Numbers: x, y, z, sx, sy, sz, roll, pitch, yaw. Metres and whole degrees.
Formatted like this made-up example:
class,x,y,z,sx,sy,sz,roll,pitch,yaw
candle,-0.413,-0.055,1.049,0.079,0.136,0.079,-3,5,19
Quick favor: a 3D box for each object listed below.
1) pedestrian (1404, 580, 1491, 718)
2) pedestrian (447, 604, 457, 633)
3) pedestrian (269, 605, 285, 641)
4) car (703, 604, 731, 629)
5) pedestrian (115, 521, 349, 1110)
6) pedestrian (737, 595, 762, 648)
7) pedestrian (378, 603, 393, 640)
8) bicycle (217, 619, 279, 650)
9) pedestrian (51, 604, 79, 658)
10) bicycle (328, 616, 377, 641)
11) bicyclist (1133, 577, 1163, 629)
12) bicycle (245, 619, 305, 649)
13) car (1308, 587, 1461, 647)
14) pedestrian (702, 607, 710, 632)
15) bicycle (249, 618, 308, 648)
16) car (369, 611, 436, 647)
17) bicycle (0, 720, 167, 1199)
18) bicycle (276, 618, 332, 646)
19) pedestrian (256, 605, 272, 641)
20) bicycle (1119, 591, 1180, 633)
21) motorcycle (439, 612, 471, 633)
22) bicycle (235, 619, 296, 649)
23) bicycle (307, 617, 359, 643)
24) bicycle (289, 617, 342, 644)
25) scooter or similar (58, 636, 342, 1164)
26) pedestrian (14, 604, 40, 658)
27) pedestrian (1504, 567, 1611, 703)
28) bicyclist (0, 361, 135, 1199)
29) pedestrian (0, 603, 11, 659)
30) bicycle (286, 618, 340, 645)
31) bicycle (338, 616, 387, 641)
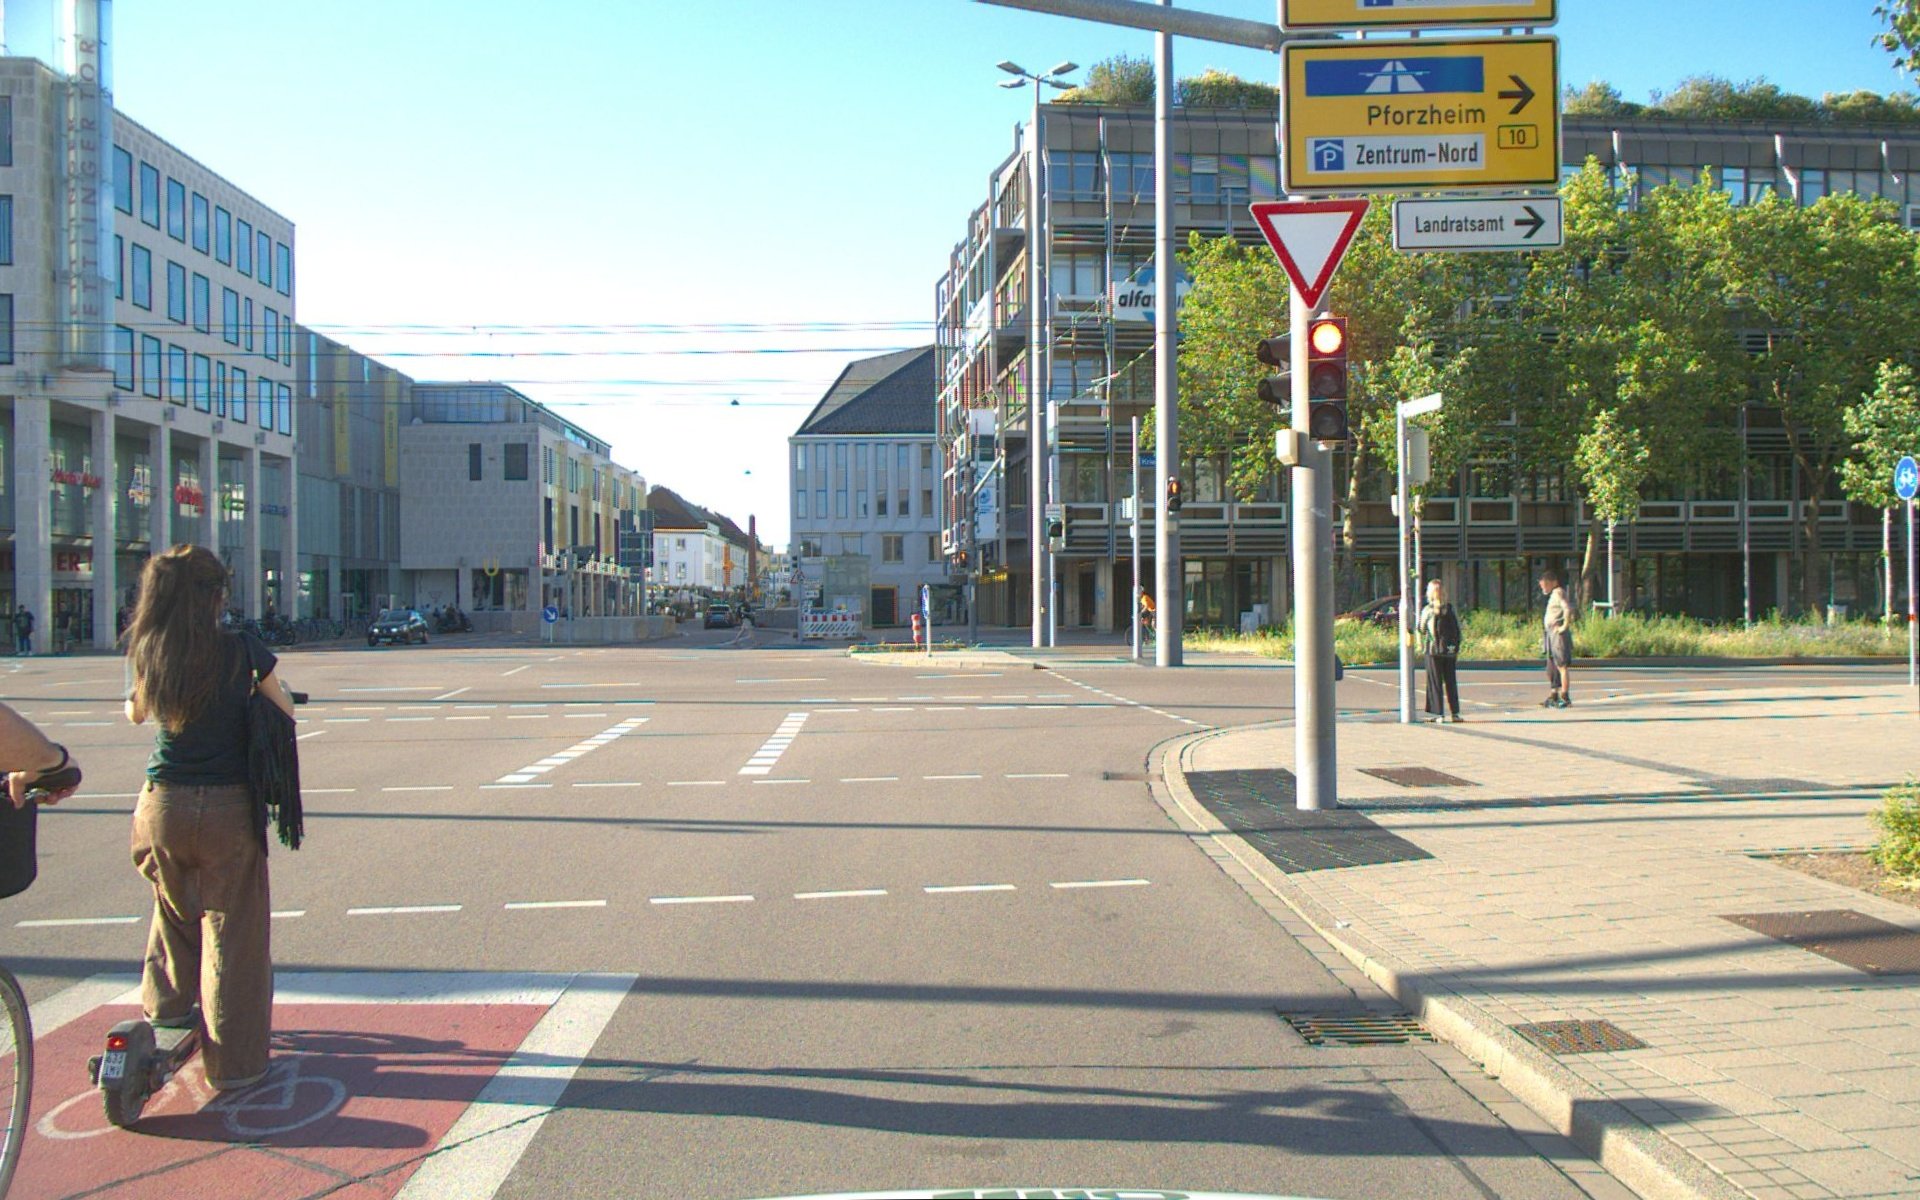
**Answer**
class,x,y,z,sx,sy,sz,roll,pitch,yaw
pedestrian,5.516,0.546,18.749,0.772,1.518,0.644,1,-1,-1
pedestrian,-30.100,1.072,98.077,0.512,1.709,0.581,1,0,-14
pedestrian,-32.563,1.085,78.862,0.544,1.709,0.606,1,0,-11
car,-15.827,1.056,107.945,1.705,1.558,3.849,1,0,-8
pedestrian,-2.187,0.613,5.027,0.540,1.661,0.569,1,-1,-16
pedestrian,-7.763,0.779,60.999,0.628,1.923,0.791,1,-1,14
pedestrian,-27.429,1.035,78.934,0.639,1.749,0.447,0,0,-25
bicycle,-29.334,1.424,68.115,2.260,1.244,0.611,0,0,-3
pedestrian,-31.172,1.069,57.602,0.788,1.876,0.854,0,0,-33
bicycle,-30.929,1.466,84.266,2.260,1.244,0.611,0,0,-3
bicyclist,5.311,0.085,46.749,0.698,1.462,0.496,1,-1,-10
bicycle,-29.292,1.436,70.755,2.260,1.244,0.611,0,0,-3
car,11.859,0.457,46.324,3.812,1.613,1.656,-1,0,-8
pedestrian,-17.898,1.360,116.703,0.511,1.709,0.582,1,0,-8
bicycle,-29.505,1.436,71.632,2.260,1.244,0.611,0,0,-3
car,-23.379,1.206,69.483,1.597,1.365,3.998,-3,0,-3
bicycle,-2.080,0.865,2.927,0.475,1.176,1.831,1,0,-1
bicycle,-29.605,1.448,74.697,2.260,1.244,0.611,0,0,-3
pedestrian,-33.112,1.098,78.735,0.560,1.709,0.614,1,0,-10
bicycle,5.362,0.341,46.768,1.615,1.175,0.496,1,-1,-10
motorcycle,-29.762,1.327,97.475,1.775,1.228,0.509,1,0,-16
bicycle,-29.127,1.433,69.401,2.260,1.244,0.611,0,0,-3
bicycle,-30.335,1.458,80.050,2.260,1.244,0.611,0,0,-3
bicycle,-30.715,1.446,78.817,2.260,1.244,0.611,0,0,-3
scooter or similar,-2.177,0.781,4.860,0.538,1.316,1.189,1,0,-15
pedestrian,-32.863,1.078,58.262,0.787,1.876,0.856,0,0,-29
pedestrian,7.659,0.438,21.213,0.866,1.694,0.958,1,-1,-22
bicyclist,-1.977,0.461,2.852,0.647,1.750,0.865,1,-1,-1
pedestrian,-33.055,1.062,56.808,0.706,1.918,0.780,1,-1,-28
bicycle,-30.066,1.449,76.847,2.260,1.244,0.611,0,0,-3
bicycle,-30.817,1.473,85.337,2.260,1.244,0.611,0,0,-3
